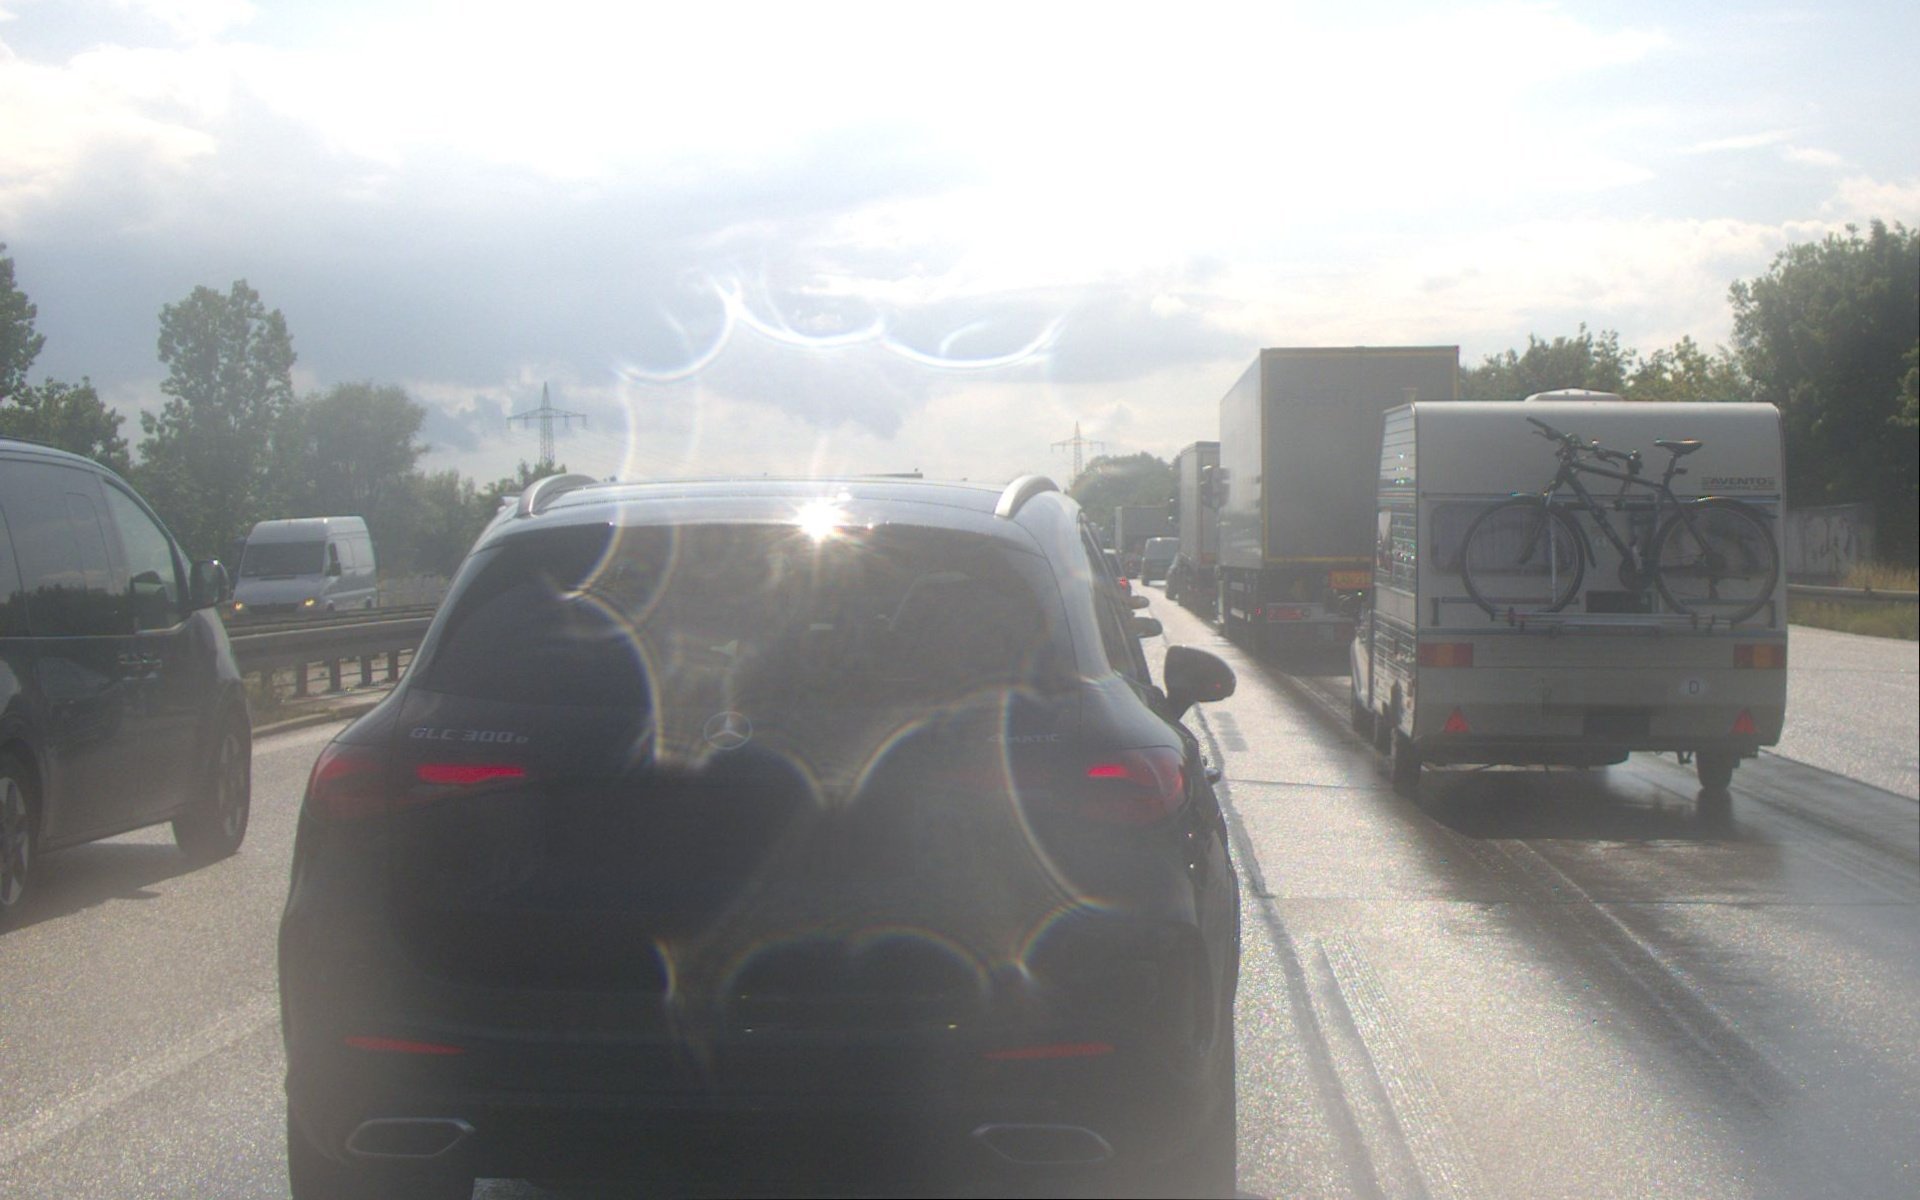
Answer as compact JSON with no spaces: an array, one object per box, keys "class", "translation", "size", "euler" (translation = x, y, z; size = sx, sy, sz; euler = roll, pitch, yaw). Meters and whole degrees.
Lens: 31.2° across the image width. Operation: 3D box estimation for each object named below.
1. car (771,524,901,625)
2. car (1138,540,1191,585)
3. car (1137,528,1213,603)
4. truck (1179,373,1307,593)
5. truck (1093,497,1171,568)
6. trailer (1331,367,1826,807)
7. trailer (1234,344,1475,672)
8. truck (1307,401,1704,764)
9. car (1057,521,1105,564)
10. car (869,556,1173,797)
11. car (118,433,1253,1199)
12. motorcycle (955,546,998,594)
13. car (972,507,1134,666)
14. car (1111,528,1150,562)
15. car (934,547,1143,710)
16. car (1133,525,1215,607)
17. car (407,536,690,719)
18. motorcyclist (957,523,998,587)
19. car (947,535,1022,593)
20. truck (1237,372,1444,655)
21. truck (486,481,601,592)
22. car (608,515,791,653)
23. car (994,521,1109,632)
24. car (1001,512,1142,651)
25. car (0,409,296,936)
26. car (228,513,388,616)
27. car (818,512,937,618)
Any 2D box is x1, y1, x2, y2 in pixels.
[{"class":"car","translation":[-2.281,-0.493,64.126],"size":[1.994,1.766,4.000],"euler":[2,1,4]},{"class":"car","translation":[8.235,-1.529,138.695],"size":[1.876,1.754,4.000],"euler":[1,1,0]},{"class":"car","translation":[6.180,-1.008,98.833],"size":[1.994,2.007,4.000],"euler":[4,1,4]},{"class":"truck","translation":[6.465,-2.615,79.359],"size":[2.502,4.813,7.543],"euler":[1,1,2]},{"class":"truck","translation":[10.155,-3.973,204.017],"size":[3.842,4.003,11.222],"euler":[1,1,-1]},{"class":"trailer","translation":[3.863,-0.119,22.804],"size":[2.374,2.475,6.522],"euler":[1,1,3]},{"class":"trailer","translation":[5.372,-1.233,47.917],"size":[3.007,4.152,8.534],"euler":[1,1,5]},{"class":"truck","translation":[4.039,-0.159,26.534],"size":[2.374,2.468,5.756],"euler":[1,1,3]},{"class":"car","translation":[5.088,-2.431,145.045],"size":[1.876,1.754,4.000],"euler":[1,1,0]},{"class":"car","translation":[0.476,0.422,22.039],"size":[1.757,1.382,3.944],"euler":[0,1,4]},{"class":"car","translation":[-0.383,0.510,8.211],"size":[1.994,1.656,4.405],"euler":[0,1,3]},{"class":"motorcycle","translation":[0.460,-0.813,92.169],"size":[1.074,1.267,2.690],"euler":[0,1,2]},{"class":"car","translation":[1.289,-0.203,45.931],"size":[1.994,2.007,4.000],"euler":[1,1,4]},{"class":"car","translation":[8.960,-2.884,180.869],"size":[1.876,1.754,4.000],"euler":[1,1,0]},{"class":"car","translation":[0.789,0.224,31.980],"size":[1.806,1.402,4.000],"euler":[1,1,3]},{"class":"car","translation":[5.510,-0.883,88.383],"size":[1.994,2.007,4.000],"euler":[2,1,4]},{"class":"car","translation":[-3.584,0.190,30.640],"size":[1.757,1.511,4.208],"euler":[0,1,4]},{"class":"motorcyclist","translation":[0.465,-1.211,92.245],"size":[1.064,1.712,0.785],"euler":[0,1,2]},{"class":"car","translation":[0.766,-1.119,105.714],"size":[1.994,1.610,4.000],"euler":[4,1,4]},{"class":"truck","translation":[5.847,-1.322,53.441],"size":[2.996,4.152,5.239],"euler":[1,1,5]},{"class":"truck","translation":[-14.857,-2.213,123.232],"size":[2.862,3.808,7.877],"euler":[0,0,2]},{"class":"car","translation":[-3.394,-0.230,45.454],"size":[1.993,1.714,4.000],"euler":[1,1,2]},{"class":"car","translation":[1.774,-0.469,65.464],"size":[1.994,2.007,4.000],"euler":[1,1,4]},{"class":"car","translation":[1.813,-0.316,54.757],"size":[1.994,2.007,4.000],"euler":[4,1,4]},{"class":"car","translation":[-4.538,0.245,14.879],"size":[1.994,2.007,5.269],"euler":[0,1,4]},{"class":"car","translation":[-13.271,-0.739,70.294],"size":[1.993,2.007,5.558],"euler":[-1,1,2]},{"class":"car","translation":[-1.679,-0.741,70.947],"size":[1.994,2.007,4.000],"euler":[4,1,4]}]
